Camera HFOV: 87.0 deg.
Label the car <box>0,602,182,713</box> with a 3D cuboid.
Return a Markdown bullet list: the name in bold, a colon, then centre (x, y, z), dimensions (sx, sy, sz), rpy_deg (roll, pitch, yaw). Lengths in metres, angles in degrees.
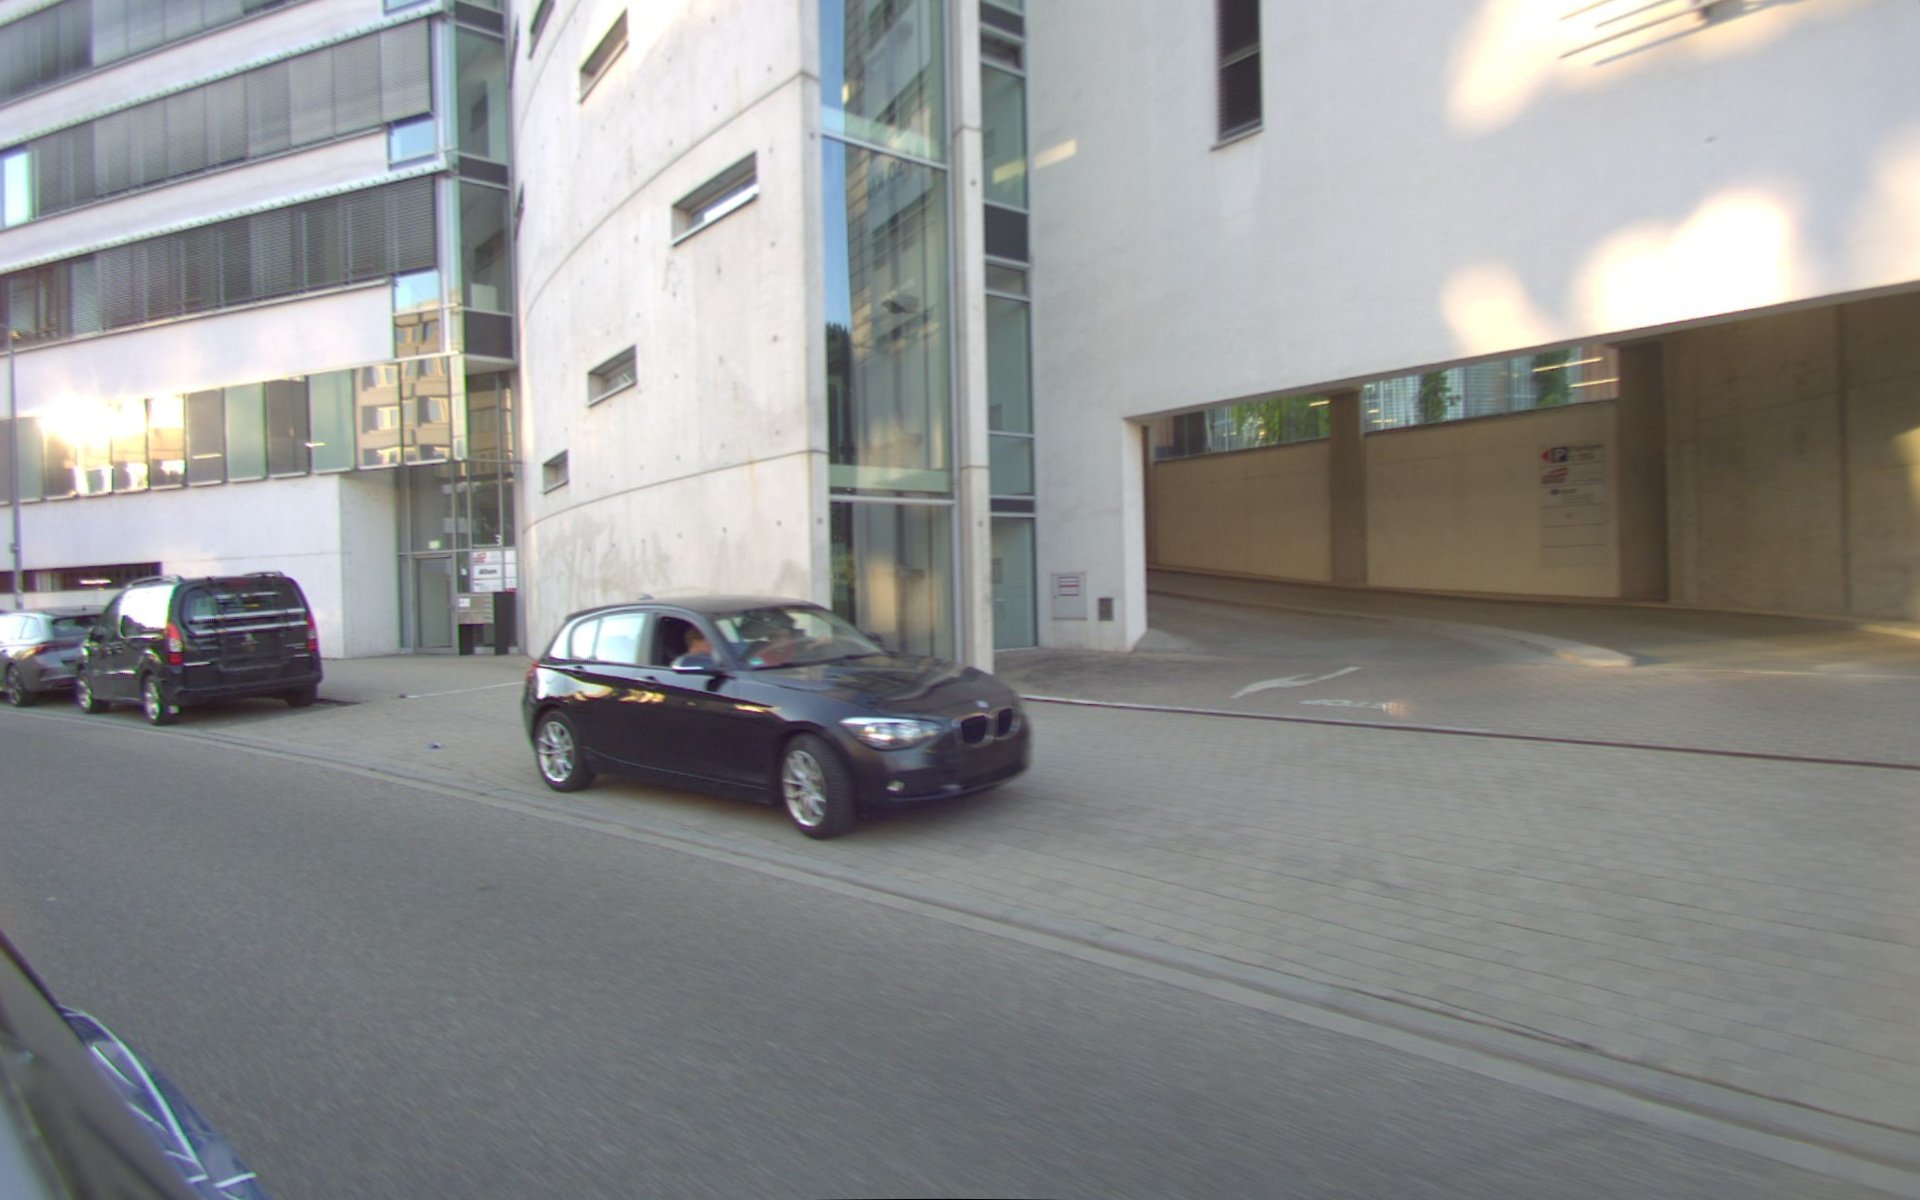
- **car**: centre (-14.708, 0.876, 16.287), dimensions (4.502, 1.488, 1.848), rpy_deg (-2, 2, 30)

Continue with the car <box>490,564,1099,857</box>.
- **car**: centre (-1.338, 0.592, 7.195), dimensions (4.221, 1.452, 1.836), rpy_deg (-2, 2, 37)

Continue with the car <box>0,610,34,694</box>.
- **car**: centre (-19.025, 0.982, 18.702), dimensions (3.747, 1.488, 1.638), rpy_deg (-2, 0, 27)

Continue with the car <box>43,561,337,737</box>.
- **car**: centre (-10.536, 0.596, 13.742), dimensions (4.508, 1.987, 1.873), rpy_deg (-2, 2, 36)
